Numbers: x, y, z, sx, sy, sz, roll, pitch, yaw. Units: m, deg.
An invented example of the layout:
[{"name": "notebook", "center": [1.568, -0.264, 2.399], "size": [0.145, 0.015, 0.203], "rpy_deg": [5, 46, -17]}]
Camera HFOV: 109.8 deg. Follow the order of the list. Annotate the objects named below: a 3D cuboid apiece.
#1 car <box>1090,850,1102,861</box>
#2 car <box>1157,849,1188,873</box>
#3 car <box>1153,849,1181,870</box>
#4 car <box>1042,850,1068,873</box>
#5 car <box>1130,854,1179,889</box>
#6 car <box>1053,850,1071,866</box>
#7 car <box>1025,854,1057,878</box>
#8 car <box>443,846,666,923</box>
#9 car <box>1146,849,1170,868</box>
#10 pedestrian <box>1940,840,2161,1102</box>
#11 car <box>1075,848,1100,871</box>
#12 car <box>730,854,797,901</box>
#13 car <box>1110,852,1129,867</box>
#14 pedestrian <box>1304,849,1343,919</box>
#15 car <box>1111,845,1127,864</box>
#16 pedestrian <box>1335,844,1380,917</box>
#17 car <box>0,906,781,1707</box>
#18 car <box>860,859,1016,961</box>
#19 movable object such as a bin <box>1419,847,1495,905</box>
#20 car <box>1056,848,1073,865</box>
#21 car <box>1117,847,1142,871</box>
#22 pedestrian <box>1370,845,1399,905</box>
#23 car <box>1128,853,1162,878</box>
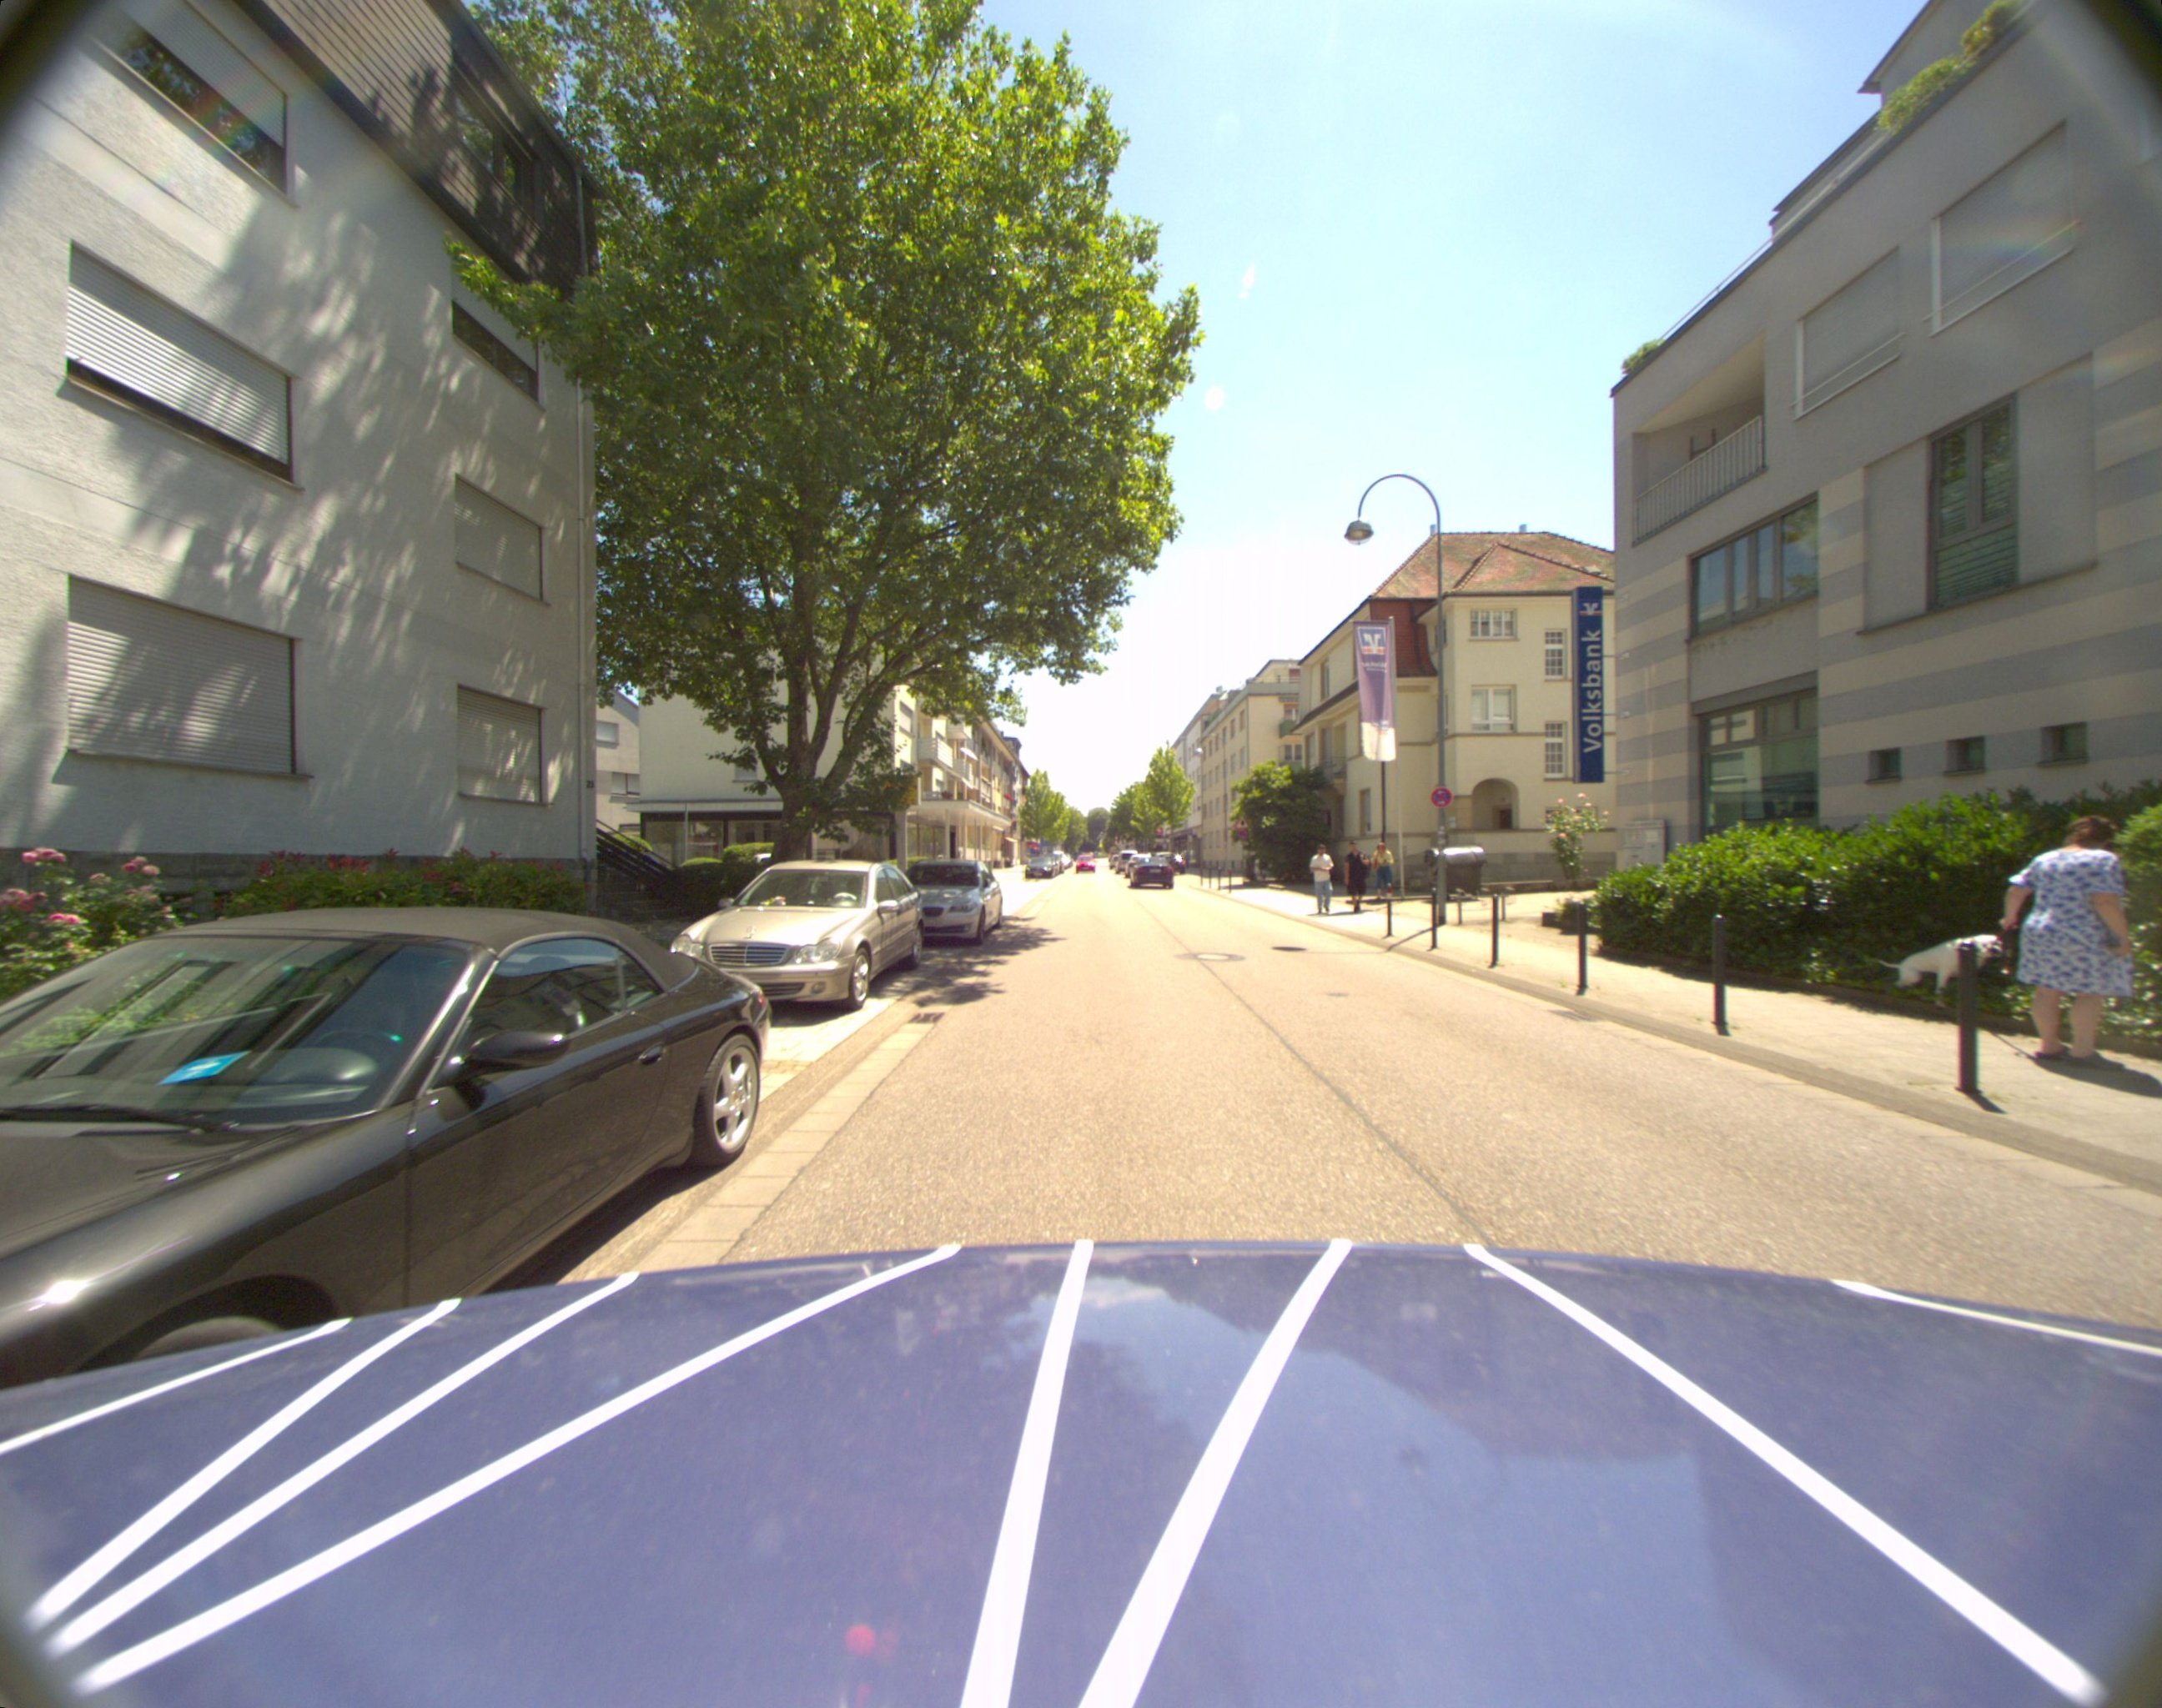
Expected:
[{"name": "car", "center": [2.278, 0.256, 116.019], "size": [1.698, 1.594, 3.812], "rpy_deg": [0, 0, 0]}, {"name": "car", "center": [6.789, 0.477, 56.772], "size": [1.731, 1.661, 4.294], "rpy_deg": [-2, 0, 0]}, {"name": "car", "center": [7.110, 0.409, 63.160], "size": [1.732, 1.661, 4.293], "rpy_deg": [-2, 0, -1]}, {"name": "car", "center": [-2.042, 0.563, 60.463], "size": [1.731, 1.752, 4.115], "rpy_deg": [0, 0, 2]}, {"name": "car", "center": [3.311, 0.752, 35.048], "size": [1.834, 1.502, 4.262], "rpy_deg": [1, 0, 0]}, {"name": "car", "center": [-1.935, 0.378, 79.839], "size": [1.731, 1.680, 4.114], "rpy_deg": [0, 0, 0]}, {"name": "car", "center": [-2.596, 0.752, 49.835], "size": [1.818, 1.379, 4.114], "rpy_deg": [2, 0, 0]}, {"name": "car", "center": [-11.726, 0.598, 17.305], "size": [1.687, 1.534, 4.102], "rpy_deg": [0, 0, 12]}, {"name": "car", "center": [6.891, 0.376, 68.451], "size": [1.731, 1.661, 4.294], "rpy_deg": [-2, 0, 0]}, {"name": "pedestrian", "center": [6.748, 0.742, 5.196], "size": [0.847, 1.635, 0.751], "rpy_deg": [-3, 1, 3]}, {"name": "car", "center": [0.557, 0.429, 65.669], "size": [2.000, 1.880, 4.294], "rpy_deg": [-2, 0, 0]}, {"name": "car", "center": [-11.088, 0.750, 26.416], "size": [1.740, 1.491, 3.454], "rpy_deg": [-1, 1, -30]}, {"name": "car", "center": [3.906, 0.555, 77.791], "size": [1.731, 1.500, 4.294], "rpy_deg": [0, 0, 0]}, {"name": "pedestrian", "center": [6.050, 0.729, 19.004], "size": [0.622, 1.667, 0.903], "rpy_deg": [-3, 1, 0]}, {"name": "car", "center": [4.575, 0.055, 92.066], "size": [1.731, 2.154, 4.294], "rpy_deg": [1, 0, 0]}, {"name": "pedestrian", "center": [6.894, 0.648, 18.953], "size": [0.750, 1.760, 0.951], "rpy_deg": [-1, 1, 0]}, {"name": "car", "center": [-2.516, 0.984, 2.264], "size": [1.561, 1.333, 4.173], "rpy_deg": [1, 0, 0]}, {"name": "car", "center": [-2.506, 0.915, 14.560], "size": [1.833, 1.502, 4.760], "rpy_deg": [-2, 0, 2]}, {"name": "movable object such as a bin", "center": [10.350, 0.580, 20.987], "size": [1.390, 1.479, 1.294], "rpy_deg": [-4, 1, 1]}, {"name": "car", "center": [-1.838, 0.300, 84.359], "size": [1.731, 1.861, 4.114], "rpy_deg": [0, 0, 0]}, {"name": "car", "center": [3.855, 0.404, 60.497], "size": [1.706, 1.815, 4.231], "rpy_deg": [1, 0, 0]}, {"name": "pedestrian", "center": [8.639, 0.584, 21.650], "size": [0.541, 1.665, 0.735], "rpy_deg": [-1, 1, 0]}, {"name": "car", "center": [3.968, 0.680, 48.002], "size": [1.834, 1.502, 4.031], "rpy_deg": [0, 0, 0]}]
